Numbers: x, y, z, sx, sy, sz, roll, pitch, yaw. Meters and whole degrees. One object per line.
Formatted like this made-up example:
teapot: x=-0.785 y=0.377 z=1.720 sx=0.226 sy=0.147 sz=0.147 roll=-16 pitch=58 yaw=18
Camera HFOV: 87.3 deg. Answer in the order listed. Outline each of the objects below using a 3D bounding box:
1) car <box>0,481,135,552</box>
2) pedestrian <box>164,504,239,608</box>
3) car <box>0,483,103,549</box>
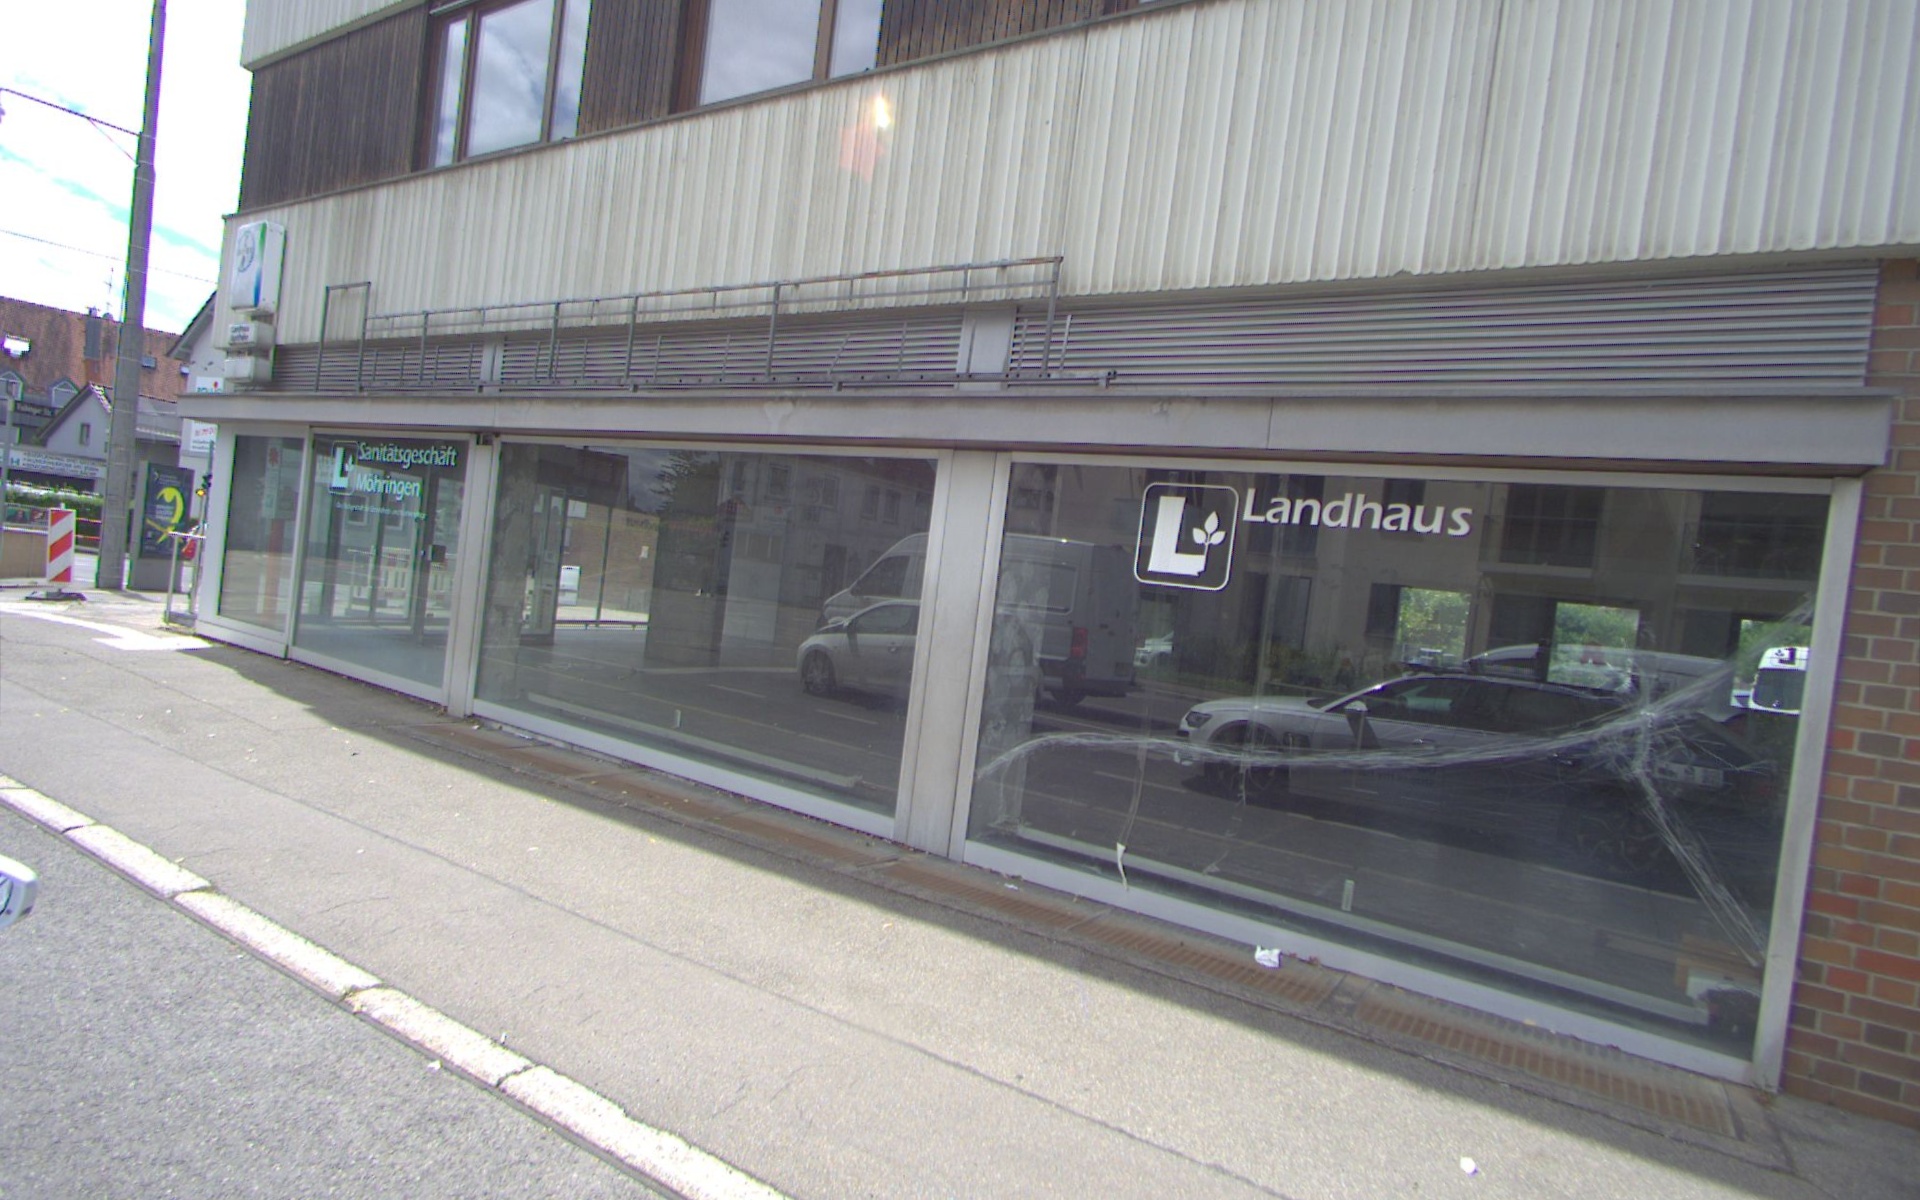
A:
car: x=-33.036 y=-3.029 z=36.660 sx=1.964 sy=1.971 sz=4.000 roll=7 pitch=-1 yaw=23
pedestrian: x=-13.031 y=-0.761 z=17.274 sx=0.831 sy=1.657 sz=0.863 roll=7 pitch=0 yaw=-42
car: x=-35.270 y=-3.250 z=37.841 sx=1.964 sy=2.037 sz=4.000 roll=7 pitch=-1 yaw=23
